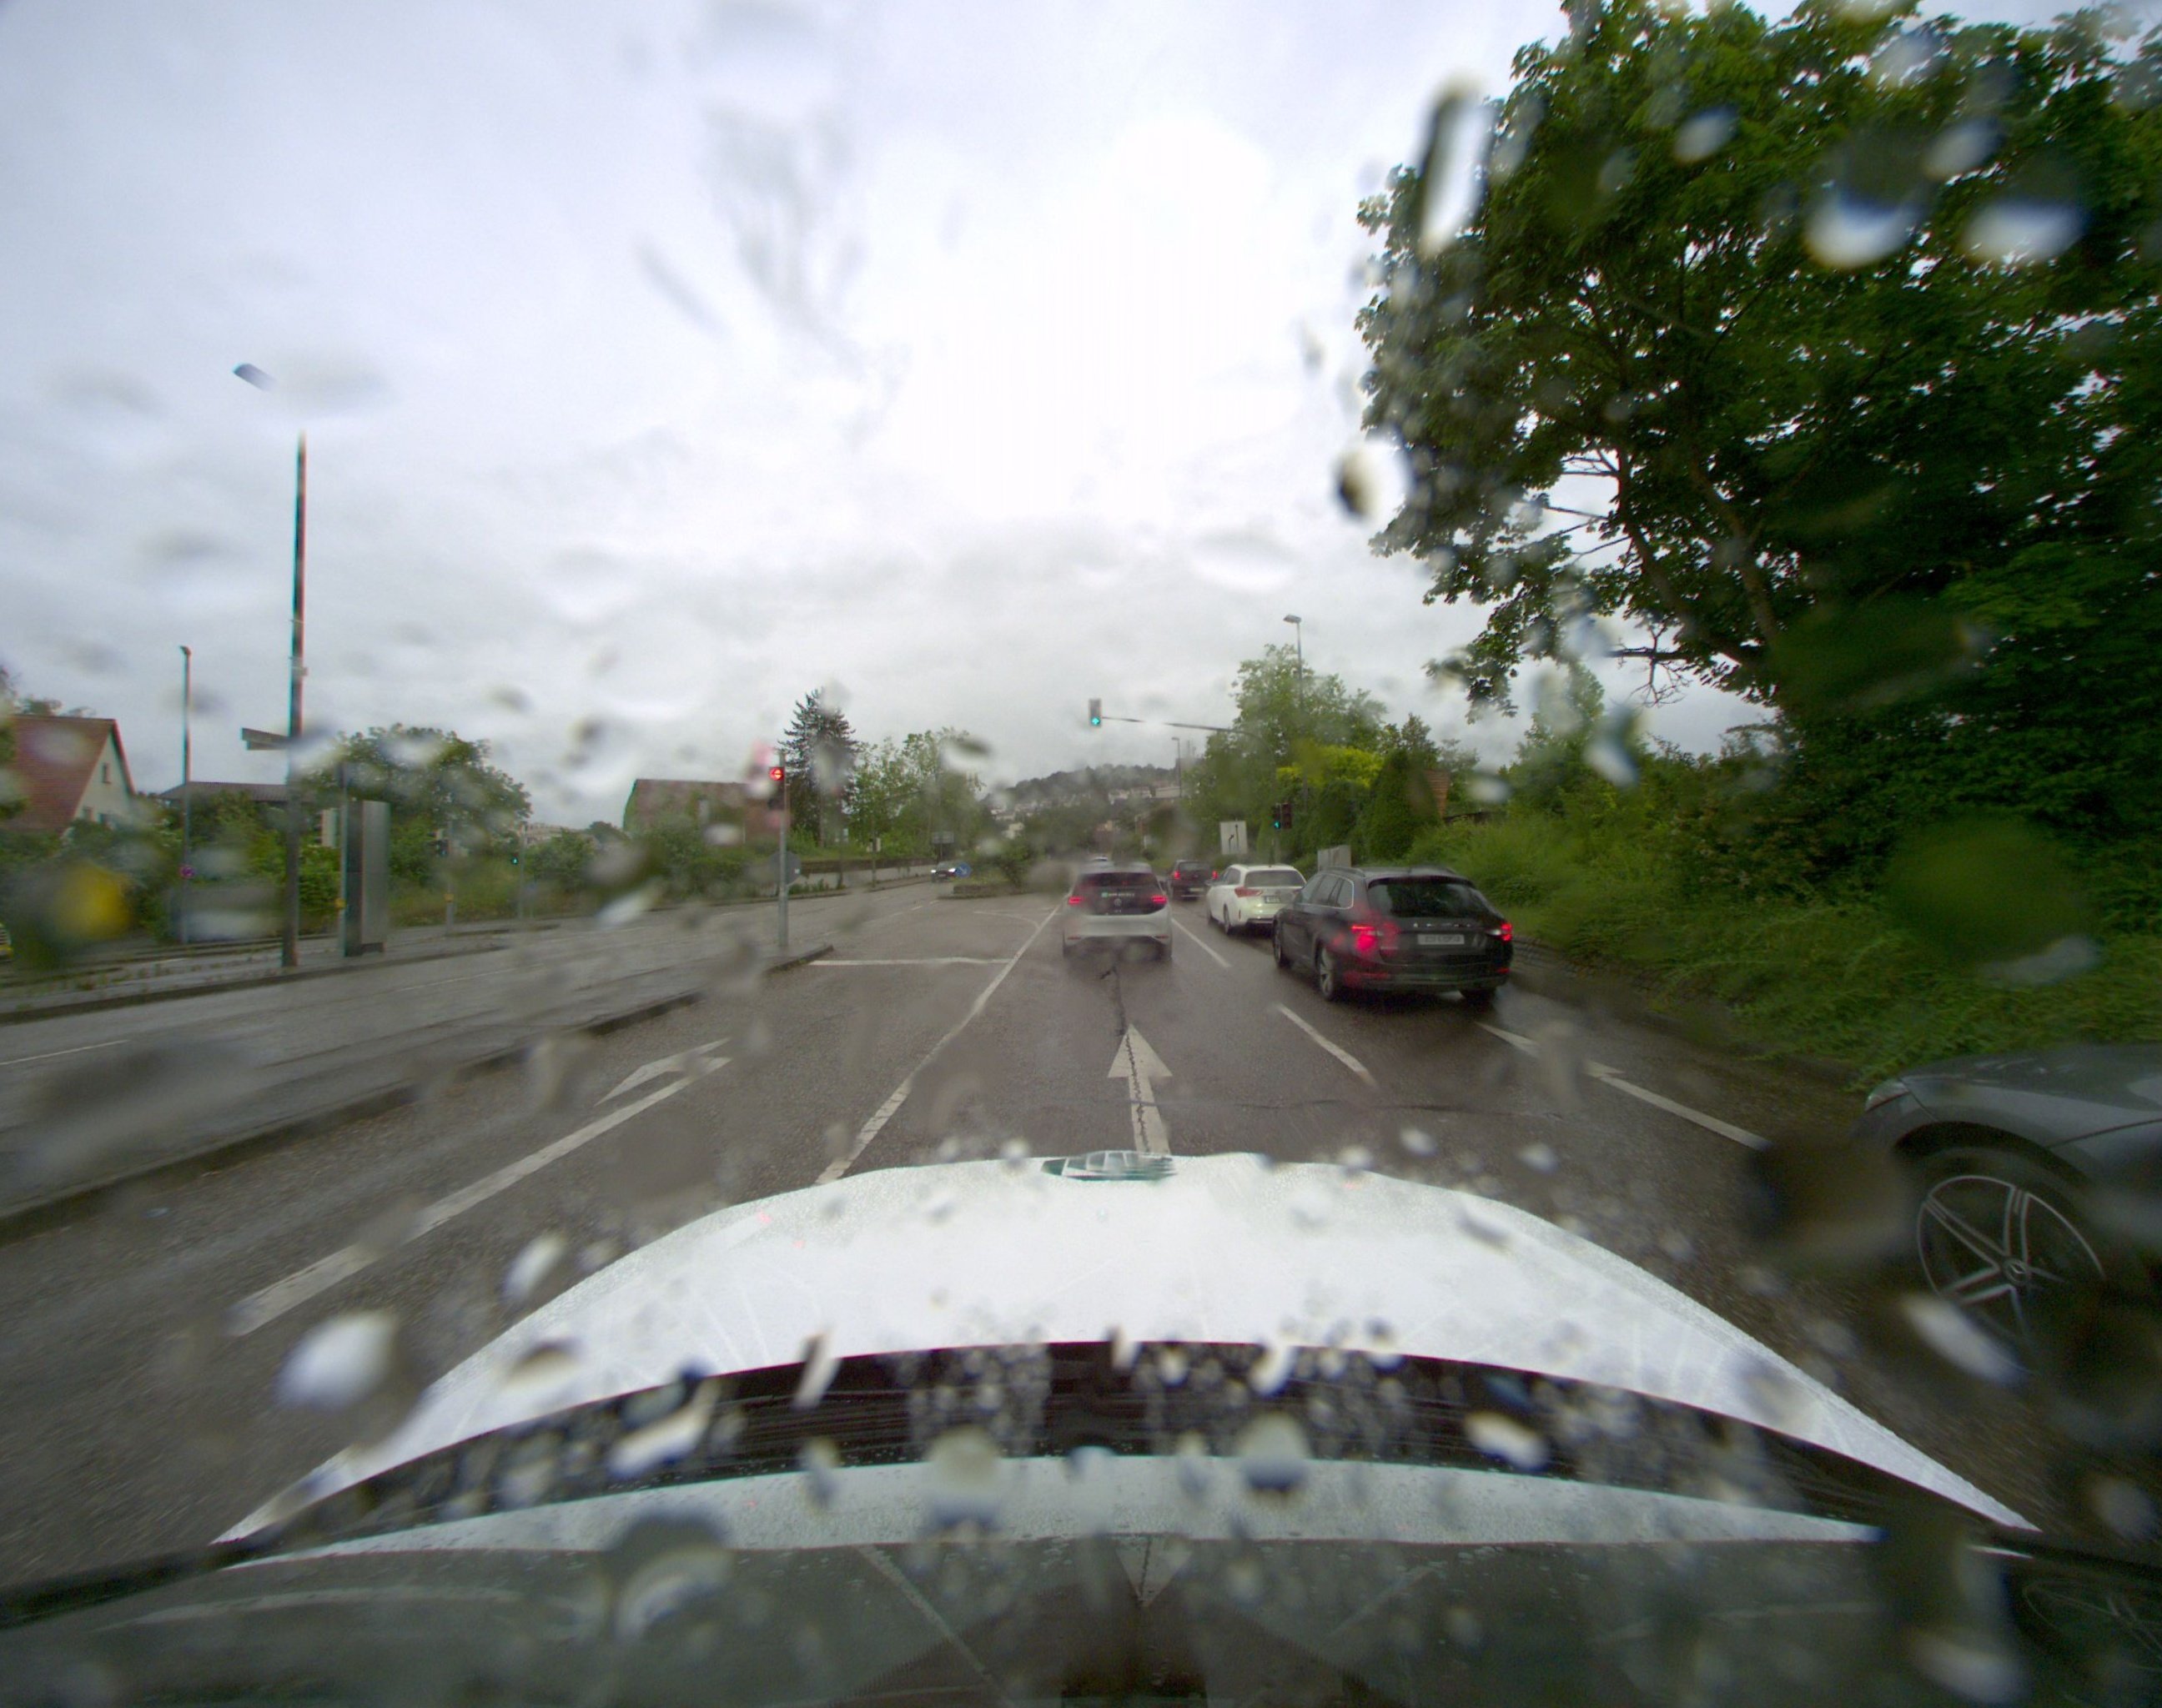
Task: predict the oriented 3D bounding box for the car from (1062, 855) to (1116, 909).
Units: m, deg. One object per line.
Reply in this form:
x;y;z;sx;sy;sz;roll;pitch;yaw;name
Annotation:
0.209;0.820;25.882;1.563;1.530;3.998;-1;0;-1;car

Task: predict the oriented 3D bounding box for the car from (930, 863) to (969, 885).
-9.644;1.443;59.941;1.943;1.478;4.297;-4;-1;2;car

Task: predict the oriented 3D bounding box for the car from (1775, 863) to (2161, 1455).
3.515;0.731;0.835;1.824;1.444;4.552;0;-1;2;car

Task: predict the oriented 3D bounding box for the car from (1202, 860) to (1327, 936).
3.810;0.863;17.671;1.841;1.410;4.303;-1;-1;2;car

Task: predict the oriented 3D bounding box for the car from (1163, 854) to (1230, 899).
4.226;0.815;30.419;1.986;1.453;3.772;-4;-1;1;car

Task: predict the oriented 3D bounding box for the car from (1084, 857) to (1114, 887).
1.282;1.246;56.254;1.986;2.014;4.001;0;-1;2;car

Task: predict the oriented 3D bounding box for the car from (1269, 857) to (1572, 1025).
3.640;0.827;9.769;1.946;1.507;4.612;1;-1;3;car

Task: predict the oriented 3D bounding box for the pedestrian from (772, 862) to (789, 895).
-15.520;1.278;42.110;0.546;1.642;0.503;-4;-1;31;pedestrian

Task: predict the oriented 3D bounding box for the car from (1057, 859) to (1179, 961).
0.618;0.879;14.421;1.822;1.500;4.169;-1;-1;2;car

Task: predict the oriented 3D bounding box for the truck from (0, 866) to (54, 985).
-26.143;1.705;16.474;6.197;2.538;2.206;-3;-1;-32;truck

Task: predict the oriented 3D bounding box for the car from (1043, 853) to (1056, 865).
-5.290;0.867;138.259;1.987;2.014;3.998;0;-1;-1;car

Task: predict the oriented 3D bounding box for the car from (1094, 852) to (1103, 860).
3.355;0.445;158.006;1.732;1.464;3.998;0;-1;0;car
